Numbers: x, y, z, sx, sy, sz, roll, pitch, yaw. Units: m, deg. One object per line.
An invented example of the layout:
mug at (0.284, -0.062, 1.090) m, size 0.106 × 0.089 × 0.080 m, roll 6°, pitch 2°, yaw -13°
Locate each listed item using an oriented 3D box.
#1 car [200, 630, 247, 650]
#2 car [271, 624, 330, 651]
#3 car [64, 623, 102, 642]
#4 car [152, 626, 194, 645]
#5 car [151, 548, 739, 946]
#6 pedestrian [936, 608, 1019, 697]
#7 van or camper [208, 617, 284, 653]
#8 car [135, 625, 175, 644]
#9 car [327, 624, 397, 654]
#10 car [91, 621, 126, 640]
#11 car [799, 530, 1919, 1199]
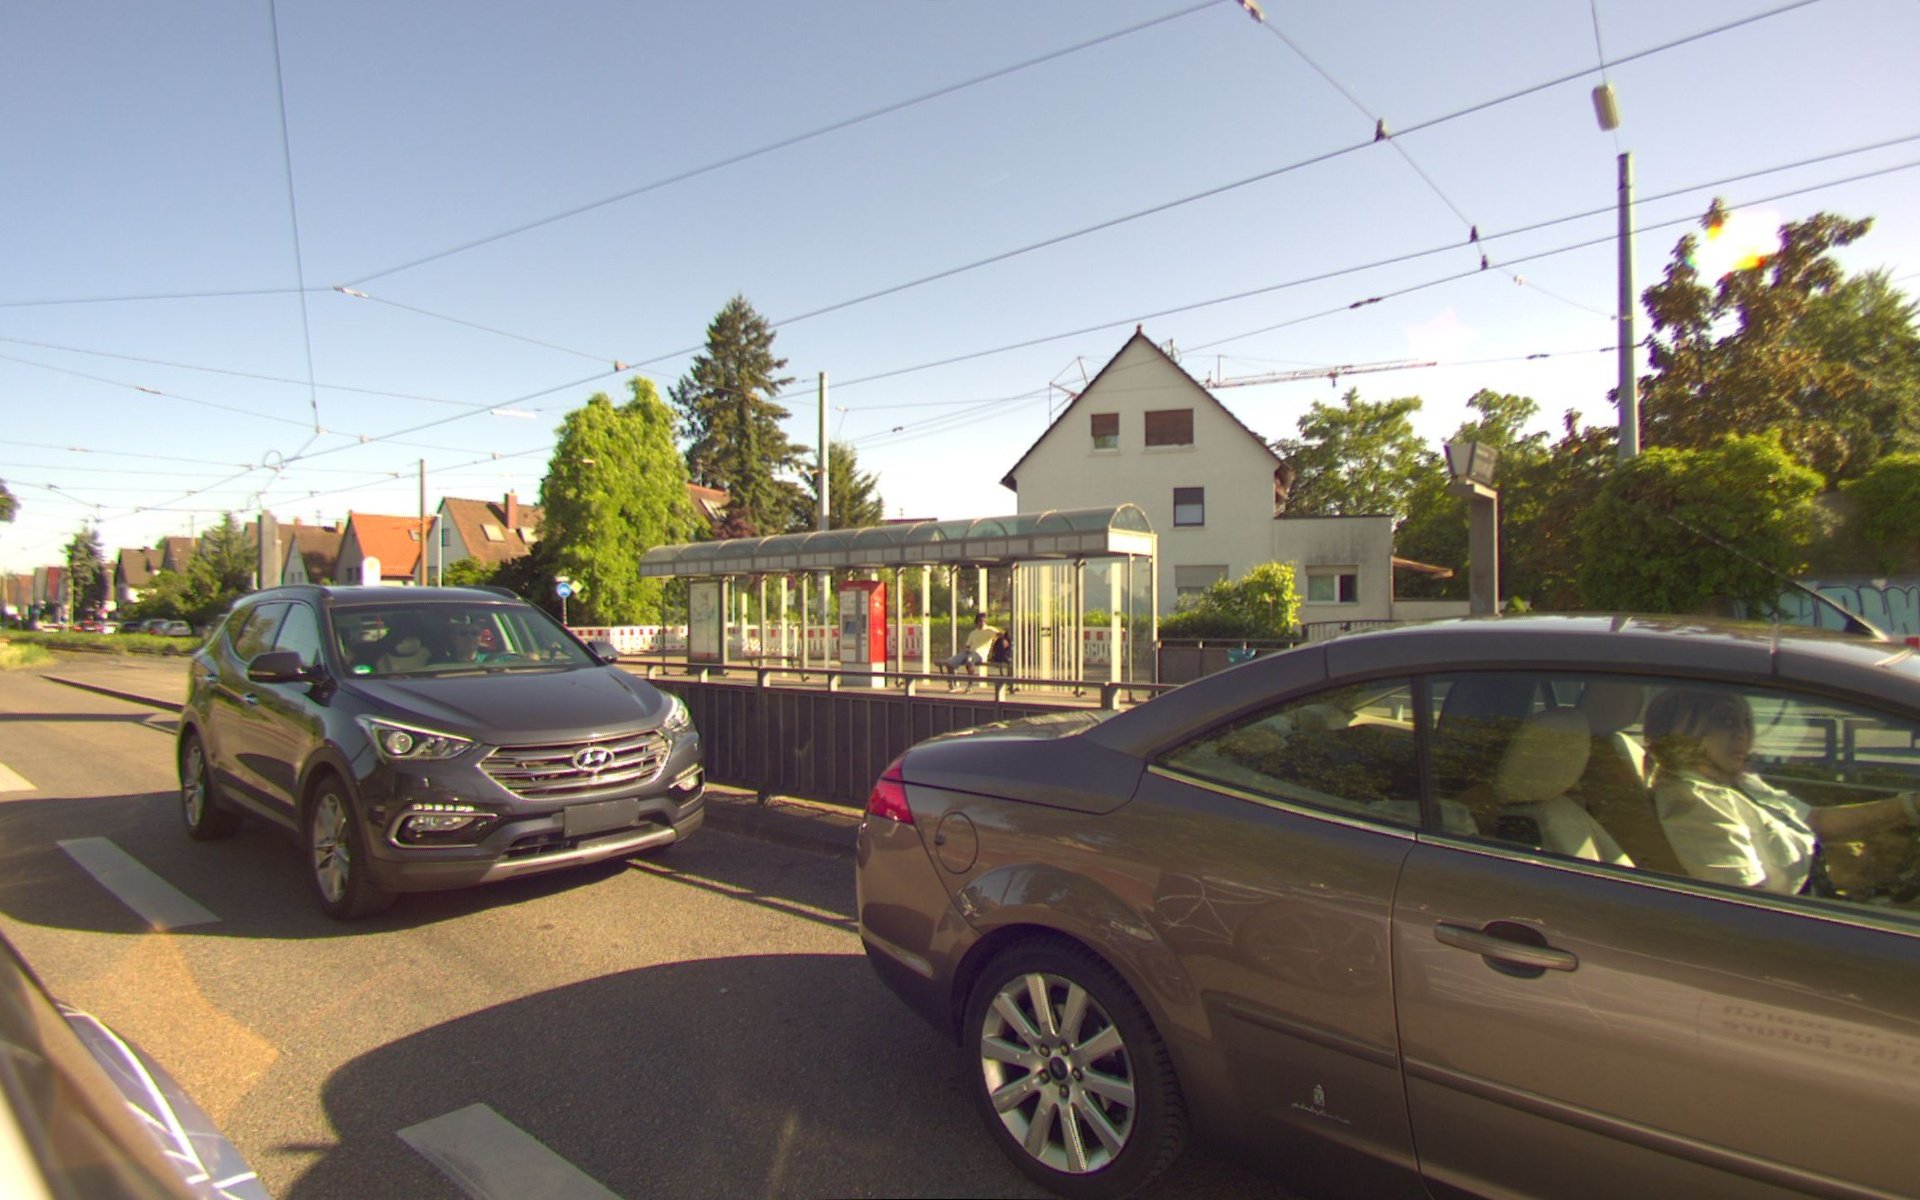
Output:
car at (-54.268, 2.944, 74.562) m, size 4.308 × 1.382 × 1.972 m, roll -2°, pitch -1°, yaw 42°
car at (-40.481, 2.270, 62.092) m, size 4.438 × 1.477 × 1.887 m, roll -1°, pitch 0°, yaw 41°
car at (-72.767, 2.681, 83.957) m, size 4.341 × 1.532 × 1.717 m, roll -2°, pitch -2°, yaw 41°
car at (-65.216, 2.910, 83.872) m, size 4.837 × 1.483 × 1.864 m, roll -2°, pitch 0°, yaw 42°
car at (-3.393, 0.663, 6.261) m, size 4.285 × 1.642 × 1.757 m, roll -2°, pitch -2°, yaw 41°
pedestrian at (0.314, 0.884, 17.514) m, size 1.006 × 1.464 × 1.050 m, roll -1°, pitch -2°, yaw 40°
van or camper at (-38.715, 1.874, 54.815) m, size 5.983 × 1.842 × 1.973 m, roll -2°, pitch -2°, yaw 41°
car at (-69.214, 2.958, 86.965) m, size 4.534 × 1.573 × 1.864 m, roll -2°, pitch 0°, yaw 41°
car at (-32.988, 2.115, 55.803) m, size 4.610 × 1.483 × 1.865 m, roll -1°, pitch 0°, yaw 40°
car at (-84.634, 3.008, 100.547) m, size 4.582 × 1.877 × 1.973 m, roll -2°, pitch -1°, yaw 41°
car at (1.724, 0.648, 2.276) m, size 4.331 × 1.461 × 1.757 m, roll -2°, pitch -2°, yaw 41°
